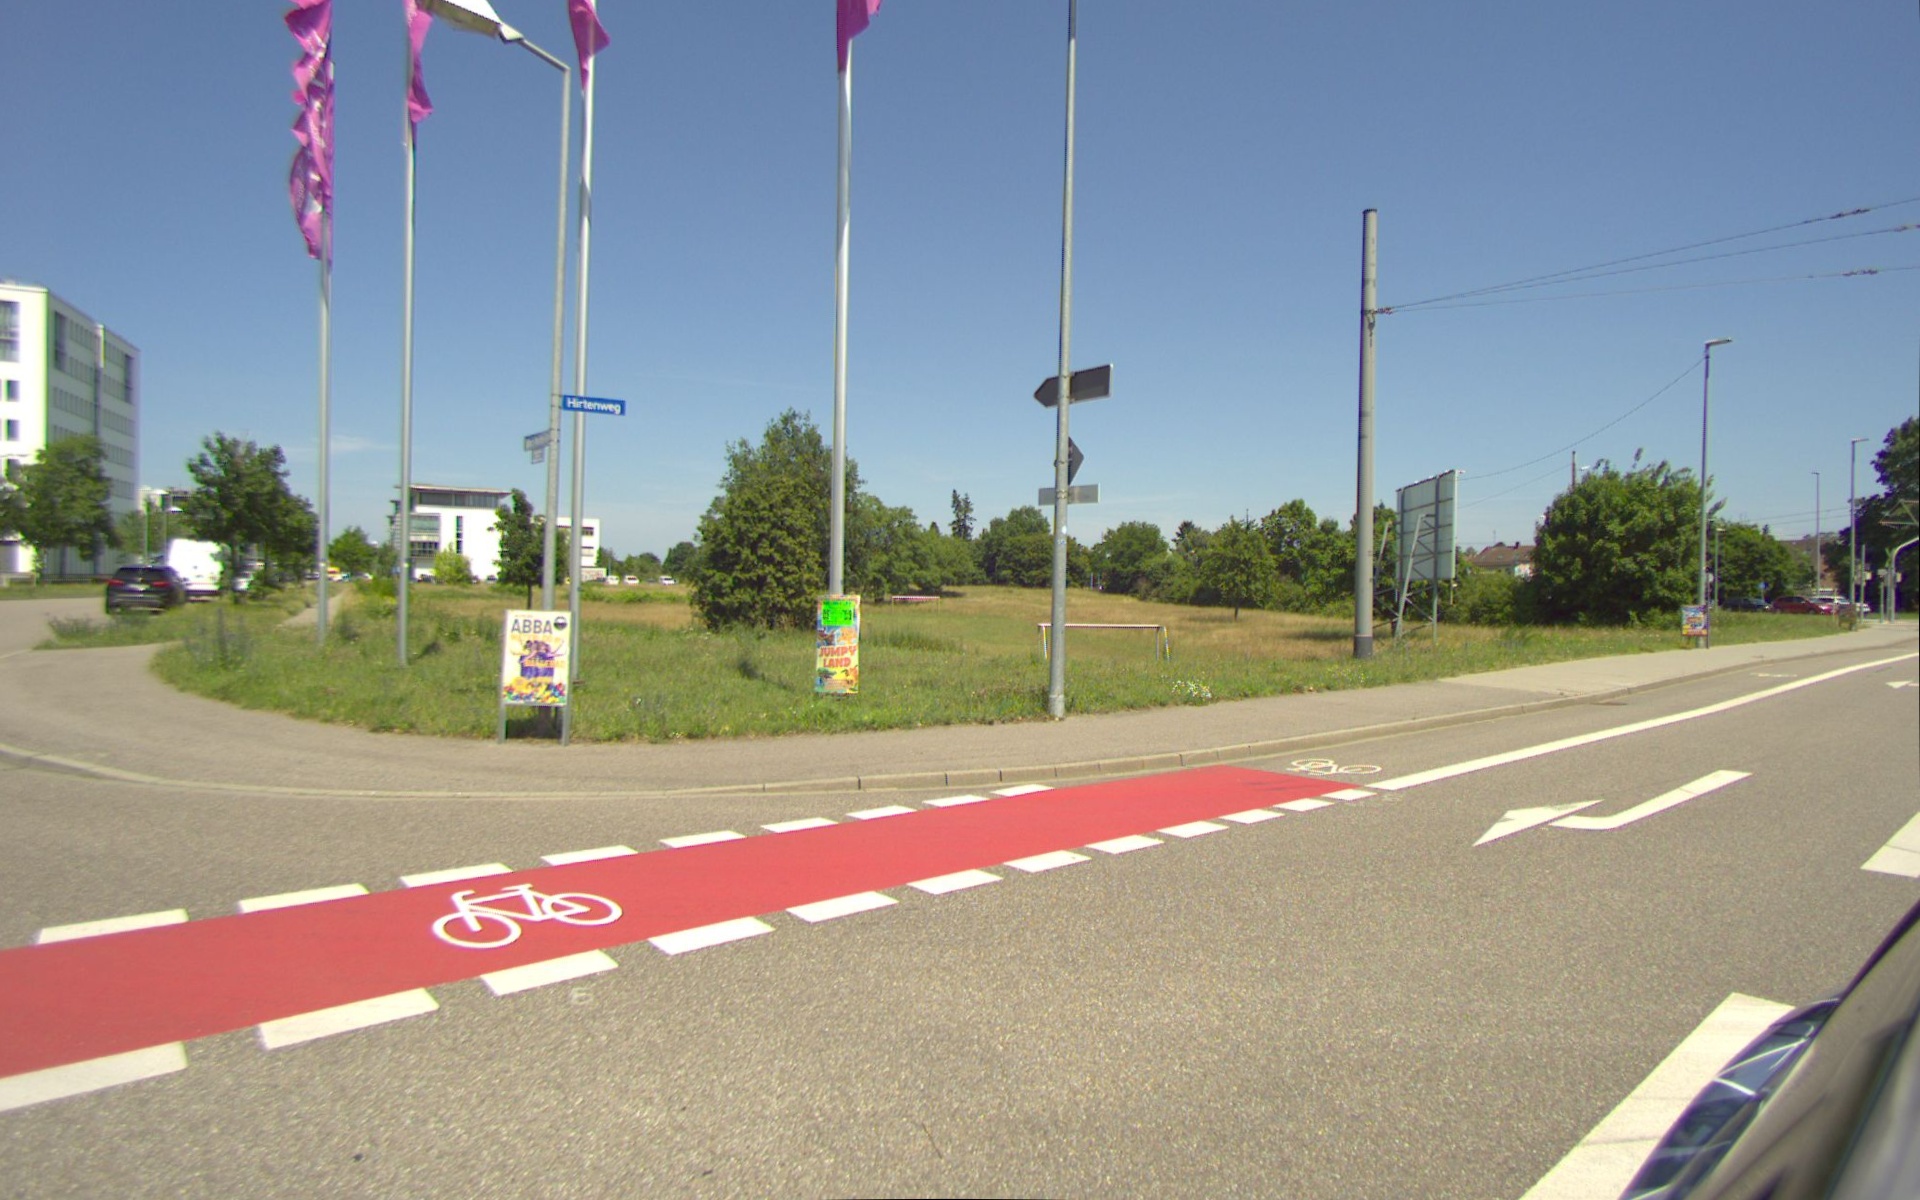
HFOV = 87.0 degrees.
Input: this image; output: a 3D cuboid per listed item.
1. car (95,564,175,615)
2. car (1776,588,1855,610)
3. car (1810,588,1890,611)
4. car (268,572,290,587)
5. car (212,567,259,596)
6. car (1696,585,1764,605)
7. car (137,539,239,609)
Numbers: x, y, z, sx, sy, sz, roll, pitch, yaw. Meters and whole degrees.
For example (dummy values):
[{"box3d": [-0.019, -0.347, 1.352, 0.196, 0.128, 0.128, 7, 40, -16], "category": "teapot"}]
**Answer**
[{"box3d": [-26.870, -0.305, 33.048, 1.673, 1.552, 3.628, 0, -1, -34], "category": "car"}, {"box3d": [65.483, -0.078, 77.563, 1.836, 1.596, 4.419, 2, 1, -9], "category": "car"}, {"box3d": [68.732, -0.057, 78.259, 1.836, 1.596, 4.419, 2, 1, -9], "category": "car"}, {"box3d": [-81.952, -2.416, 121.784, 1.671, 1.553, 3.631, 6, -3, -28], "category": "car"}, {"box3d": [-40.287, -1.001, 56.338, 1.671, 1.552, 3.631, 0, -1, -28], "category": "car"}, {"box3d": [64.095, -0.421, 84.352, 1.836, 1.596, 4.419, 2, 1, -9], "category": "car"}, {"box3d": [-33.736, -1.100, 44.459, 2.615, 2.837, 6.861, -1, 1, -30], "category": "car"}]
